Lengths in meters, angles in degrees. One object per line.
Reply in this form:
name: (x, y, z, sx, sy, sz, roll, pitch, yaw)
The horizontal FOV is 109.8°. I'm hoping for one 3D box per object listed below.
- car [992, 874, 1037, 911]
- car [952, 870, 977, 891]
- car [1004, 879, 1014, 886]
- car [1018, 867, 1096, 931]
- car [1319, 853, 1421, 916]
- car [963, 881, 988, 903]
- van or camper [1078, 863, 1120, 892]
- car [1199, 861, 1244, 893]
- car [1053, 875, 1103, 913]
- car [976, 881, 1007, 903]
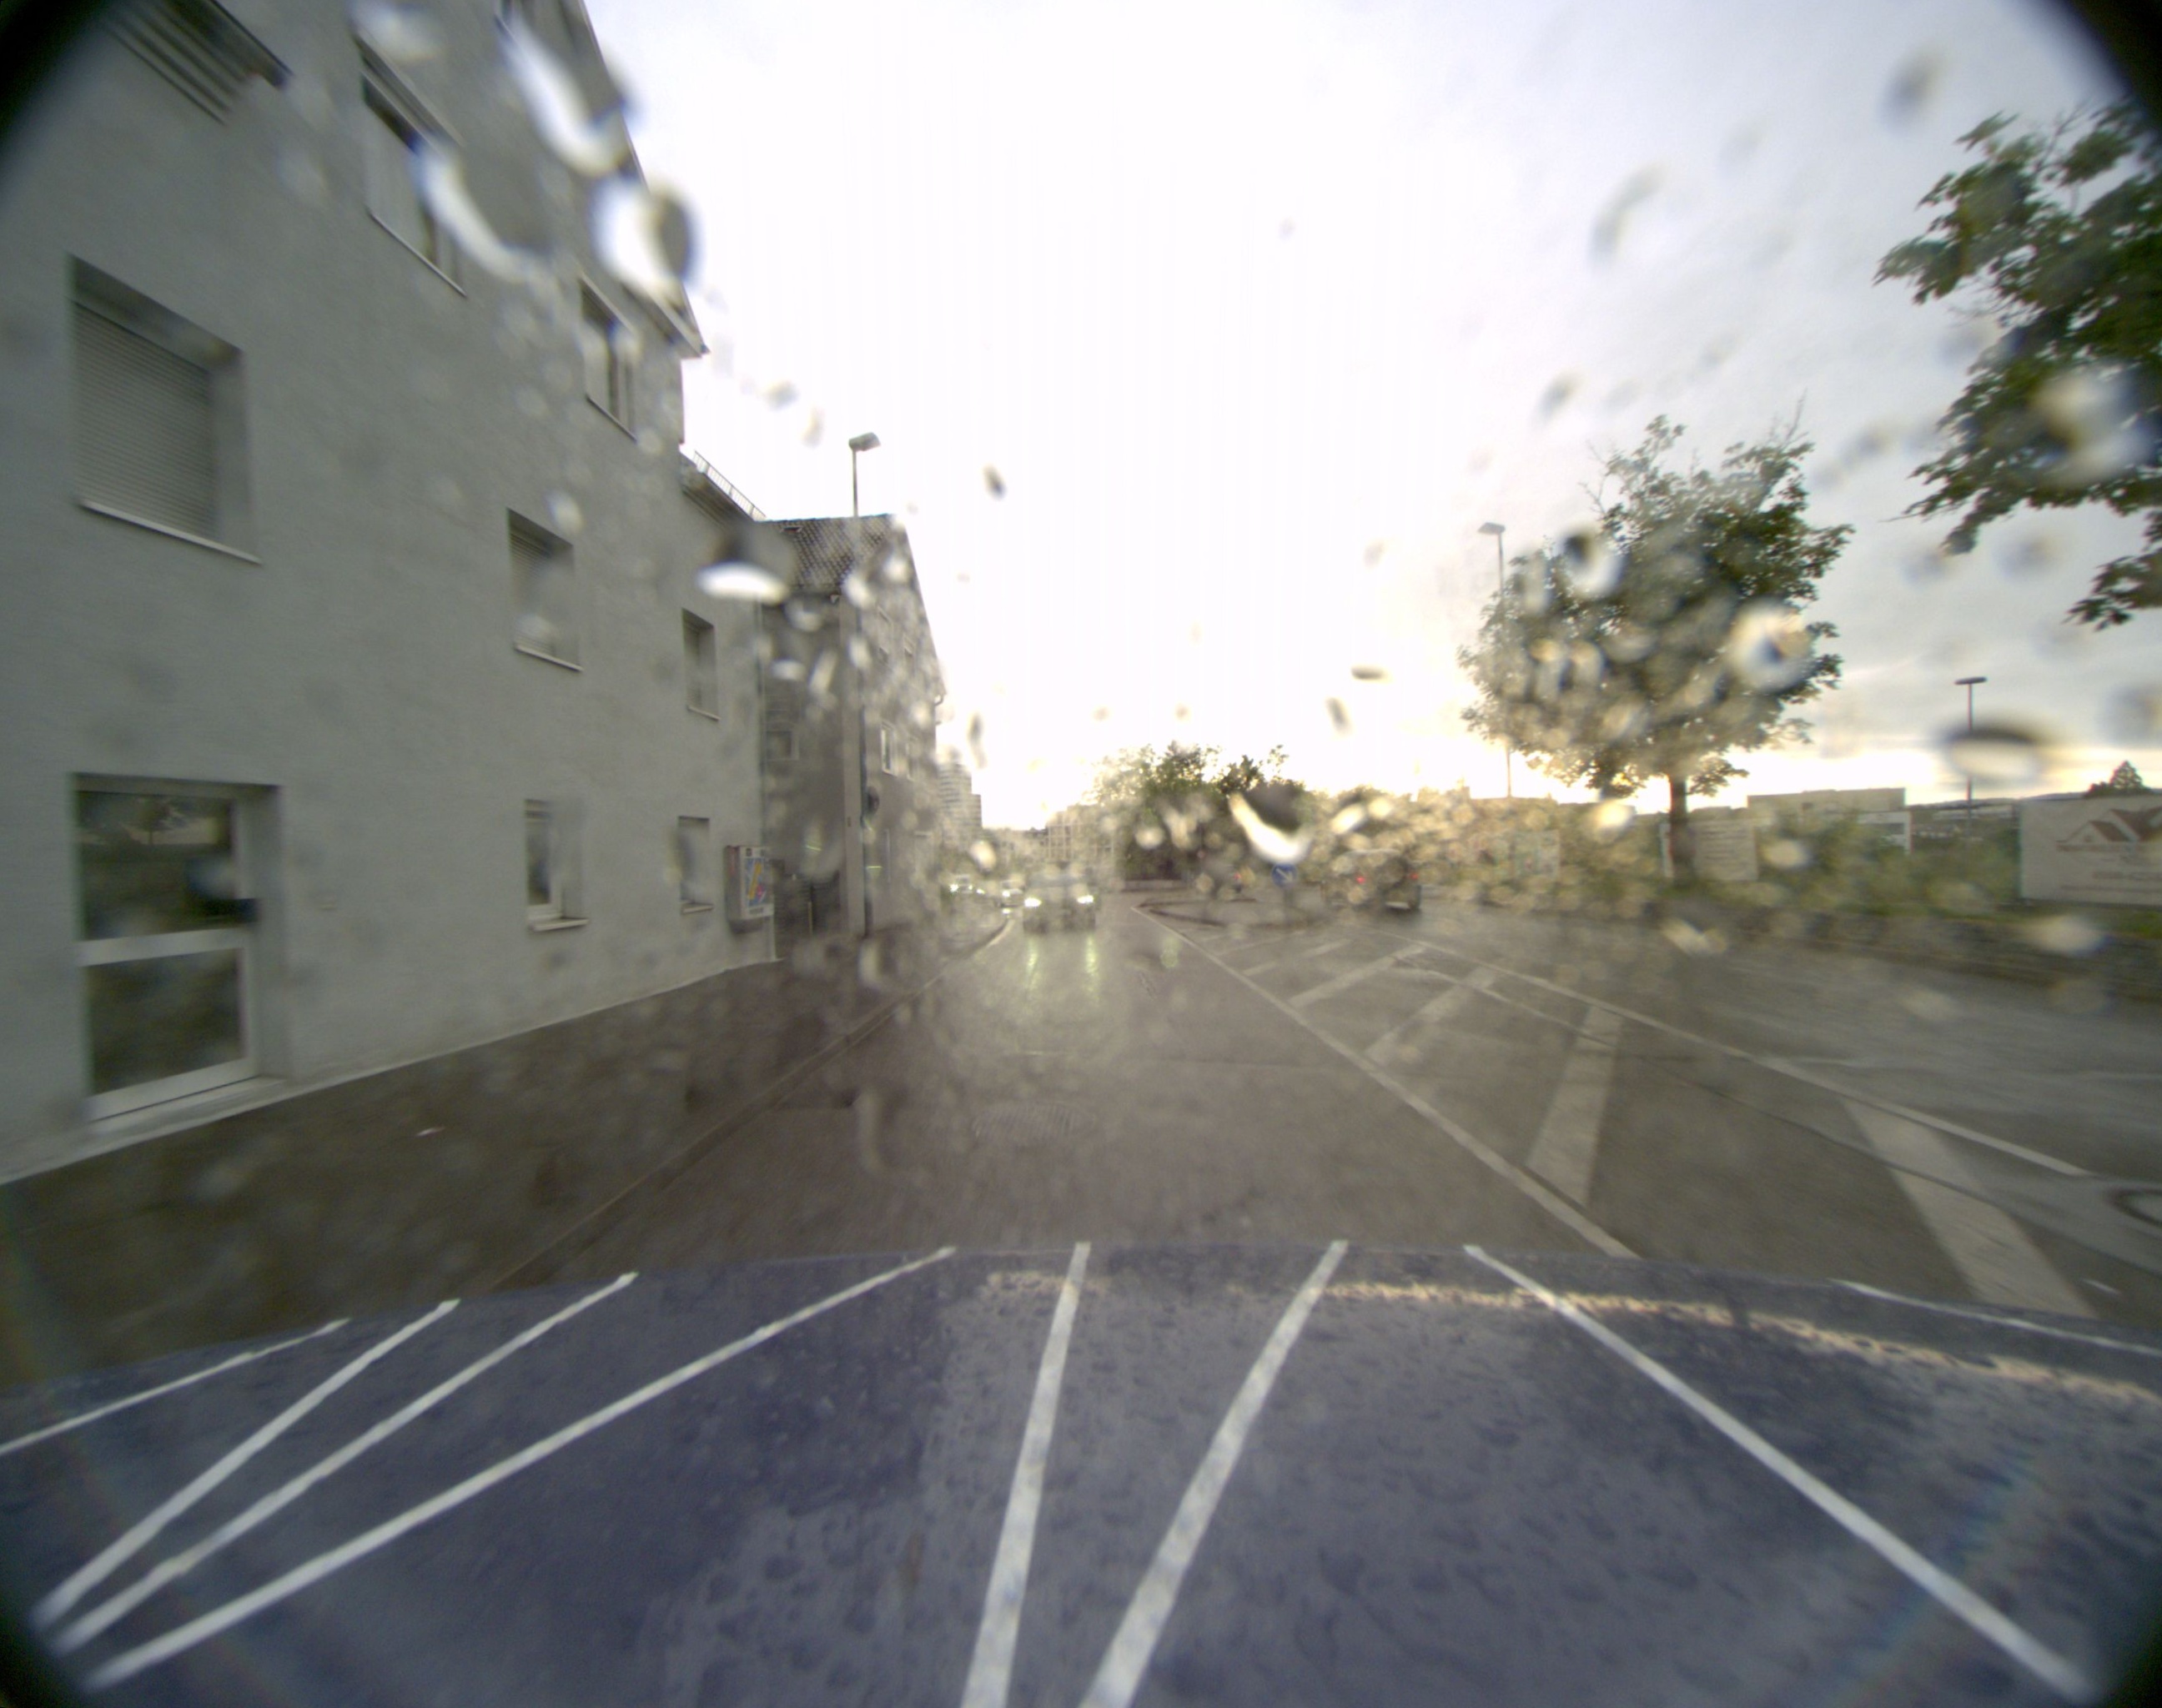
car: (-3.880, 2.151, 43.689, 1.902, 1.650, 4.939, -7, 2, -11)
car: (-12.090, 2.790, 78.624, 2.032, 1.924, 4.941, -2, -3, -14)
car: (-16.177, 6.277, 170.118, 1.820, 1.505, 3.997, -2, -1, -11)
car: (-0.551, 1.192, 21.345, 1.838, 1.504, 4.850, -4, -2, 1)
car: (7.827, 0.768, 20.957, 1.644, 1.512, 4.073, -2, 0, 6)
car: (-9.291, 3.343, 66.663, 1.902, 1.712, 4.461, -2, -3, -12)
van or camper: (1.670, 2.308, 74.433, 2.375, 2.640, 7.014, -2, -1, -13)
car: (7.640, 1.224, 41.675, 1.648, 1.543, 4.155, -5, 0, 1)
car: (-0.043, 1.568, 30.613, 1.790, 1.339, 4.946, -3, -2, 1)
car: (-6.578, 2.749, 55.287, 1.902, 1.487, 4.942, -2, -2, -11)
